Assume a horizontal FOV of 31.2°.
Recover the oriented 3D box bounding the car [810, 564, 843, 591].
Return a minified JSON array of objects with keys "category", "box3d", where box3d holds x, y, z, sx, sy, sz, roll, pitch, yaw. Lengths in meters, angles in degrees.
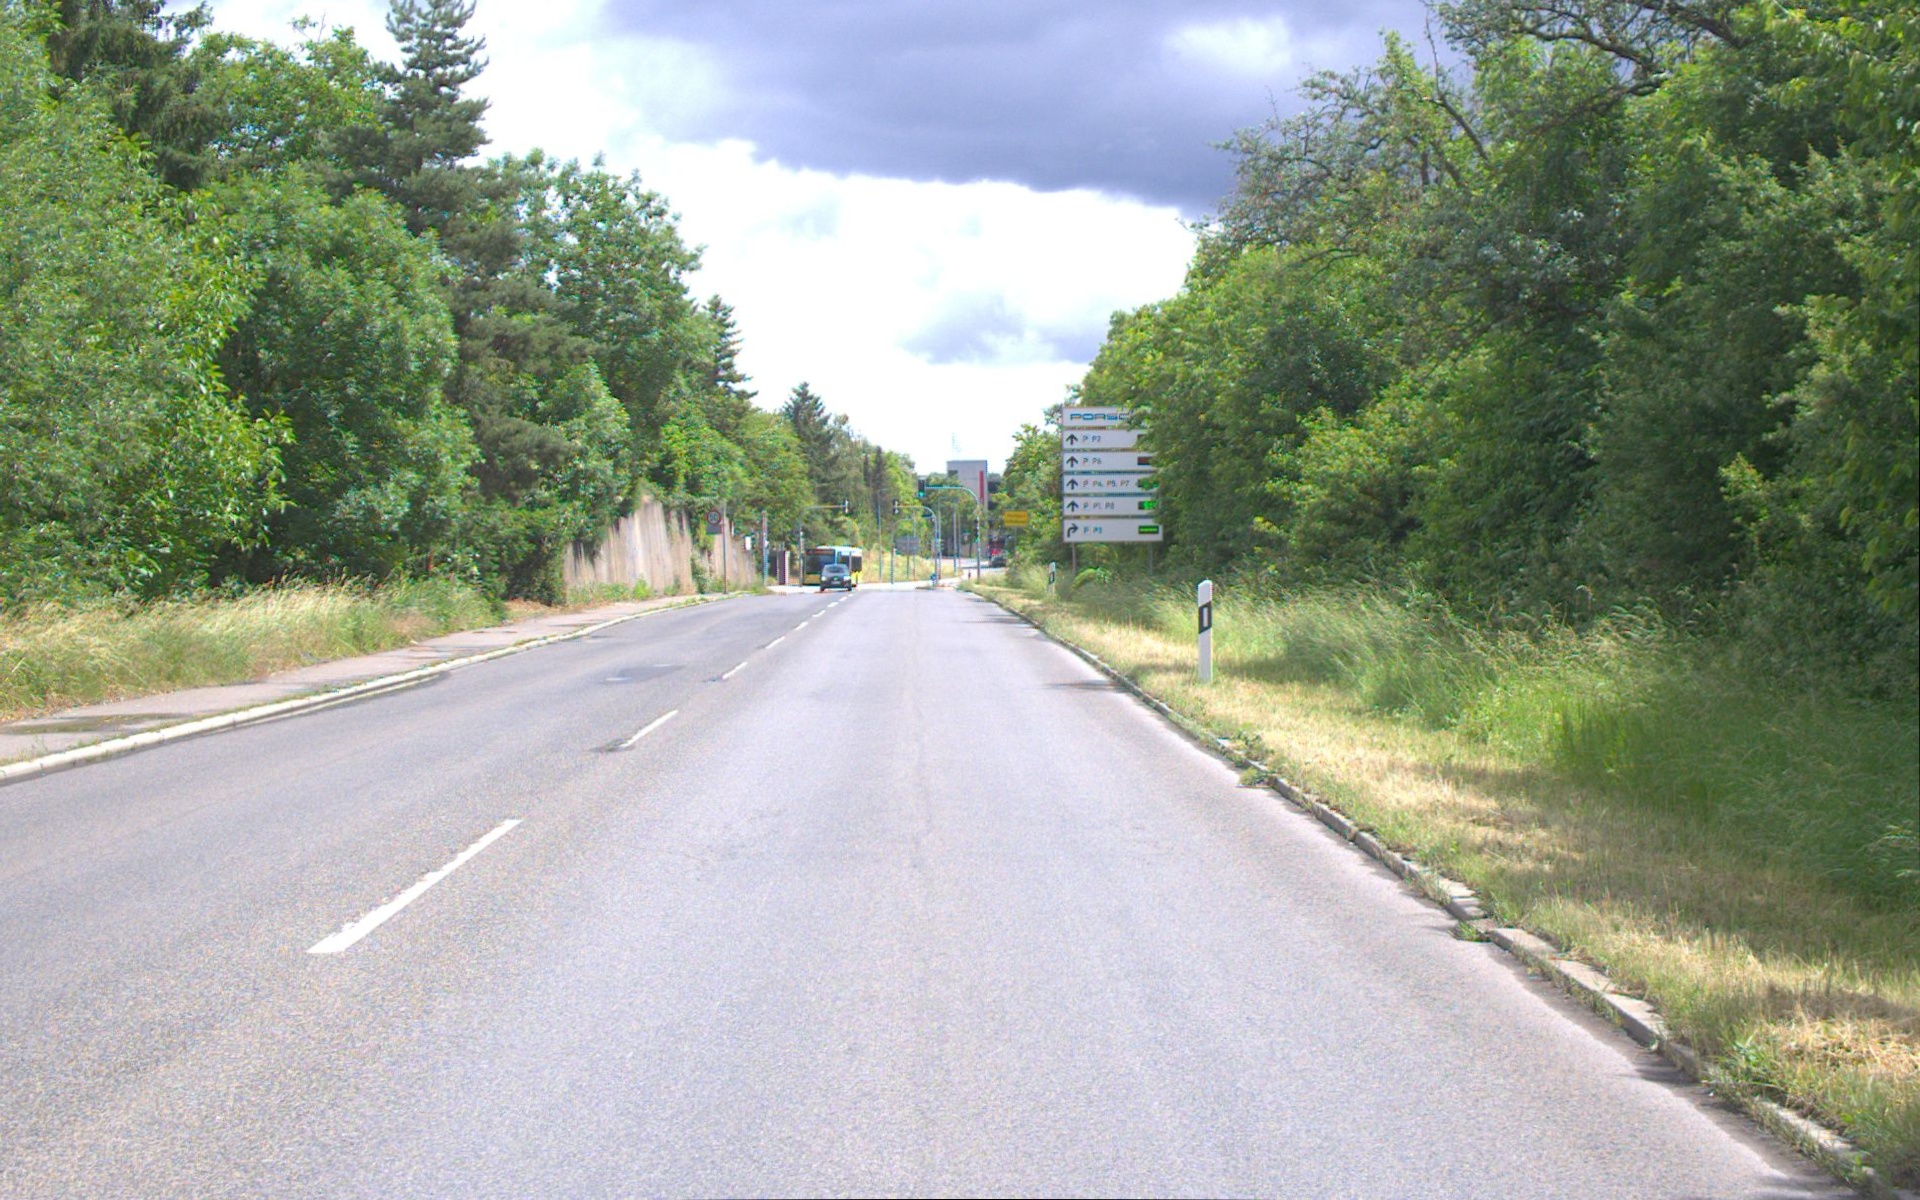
[{"category":"car","box3d":[-7.392,-1.266,190.596,1.751,1.459,4.000,-1,1,-1]}]
